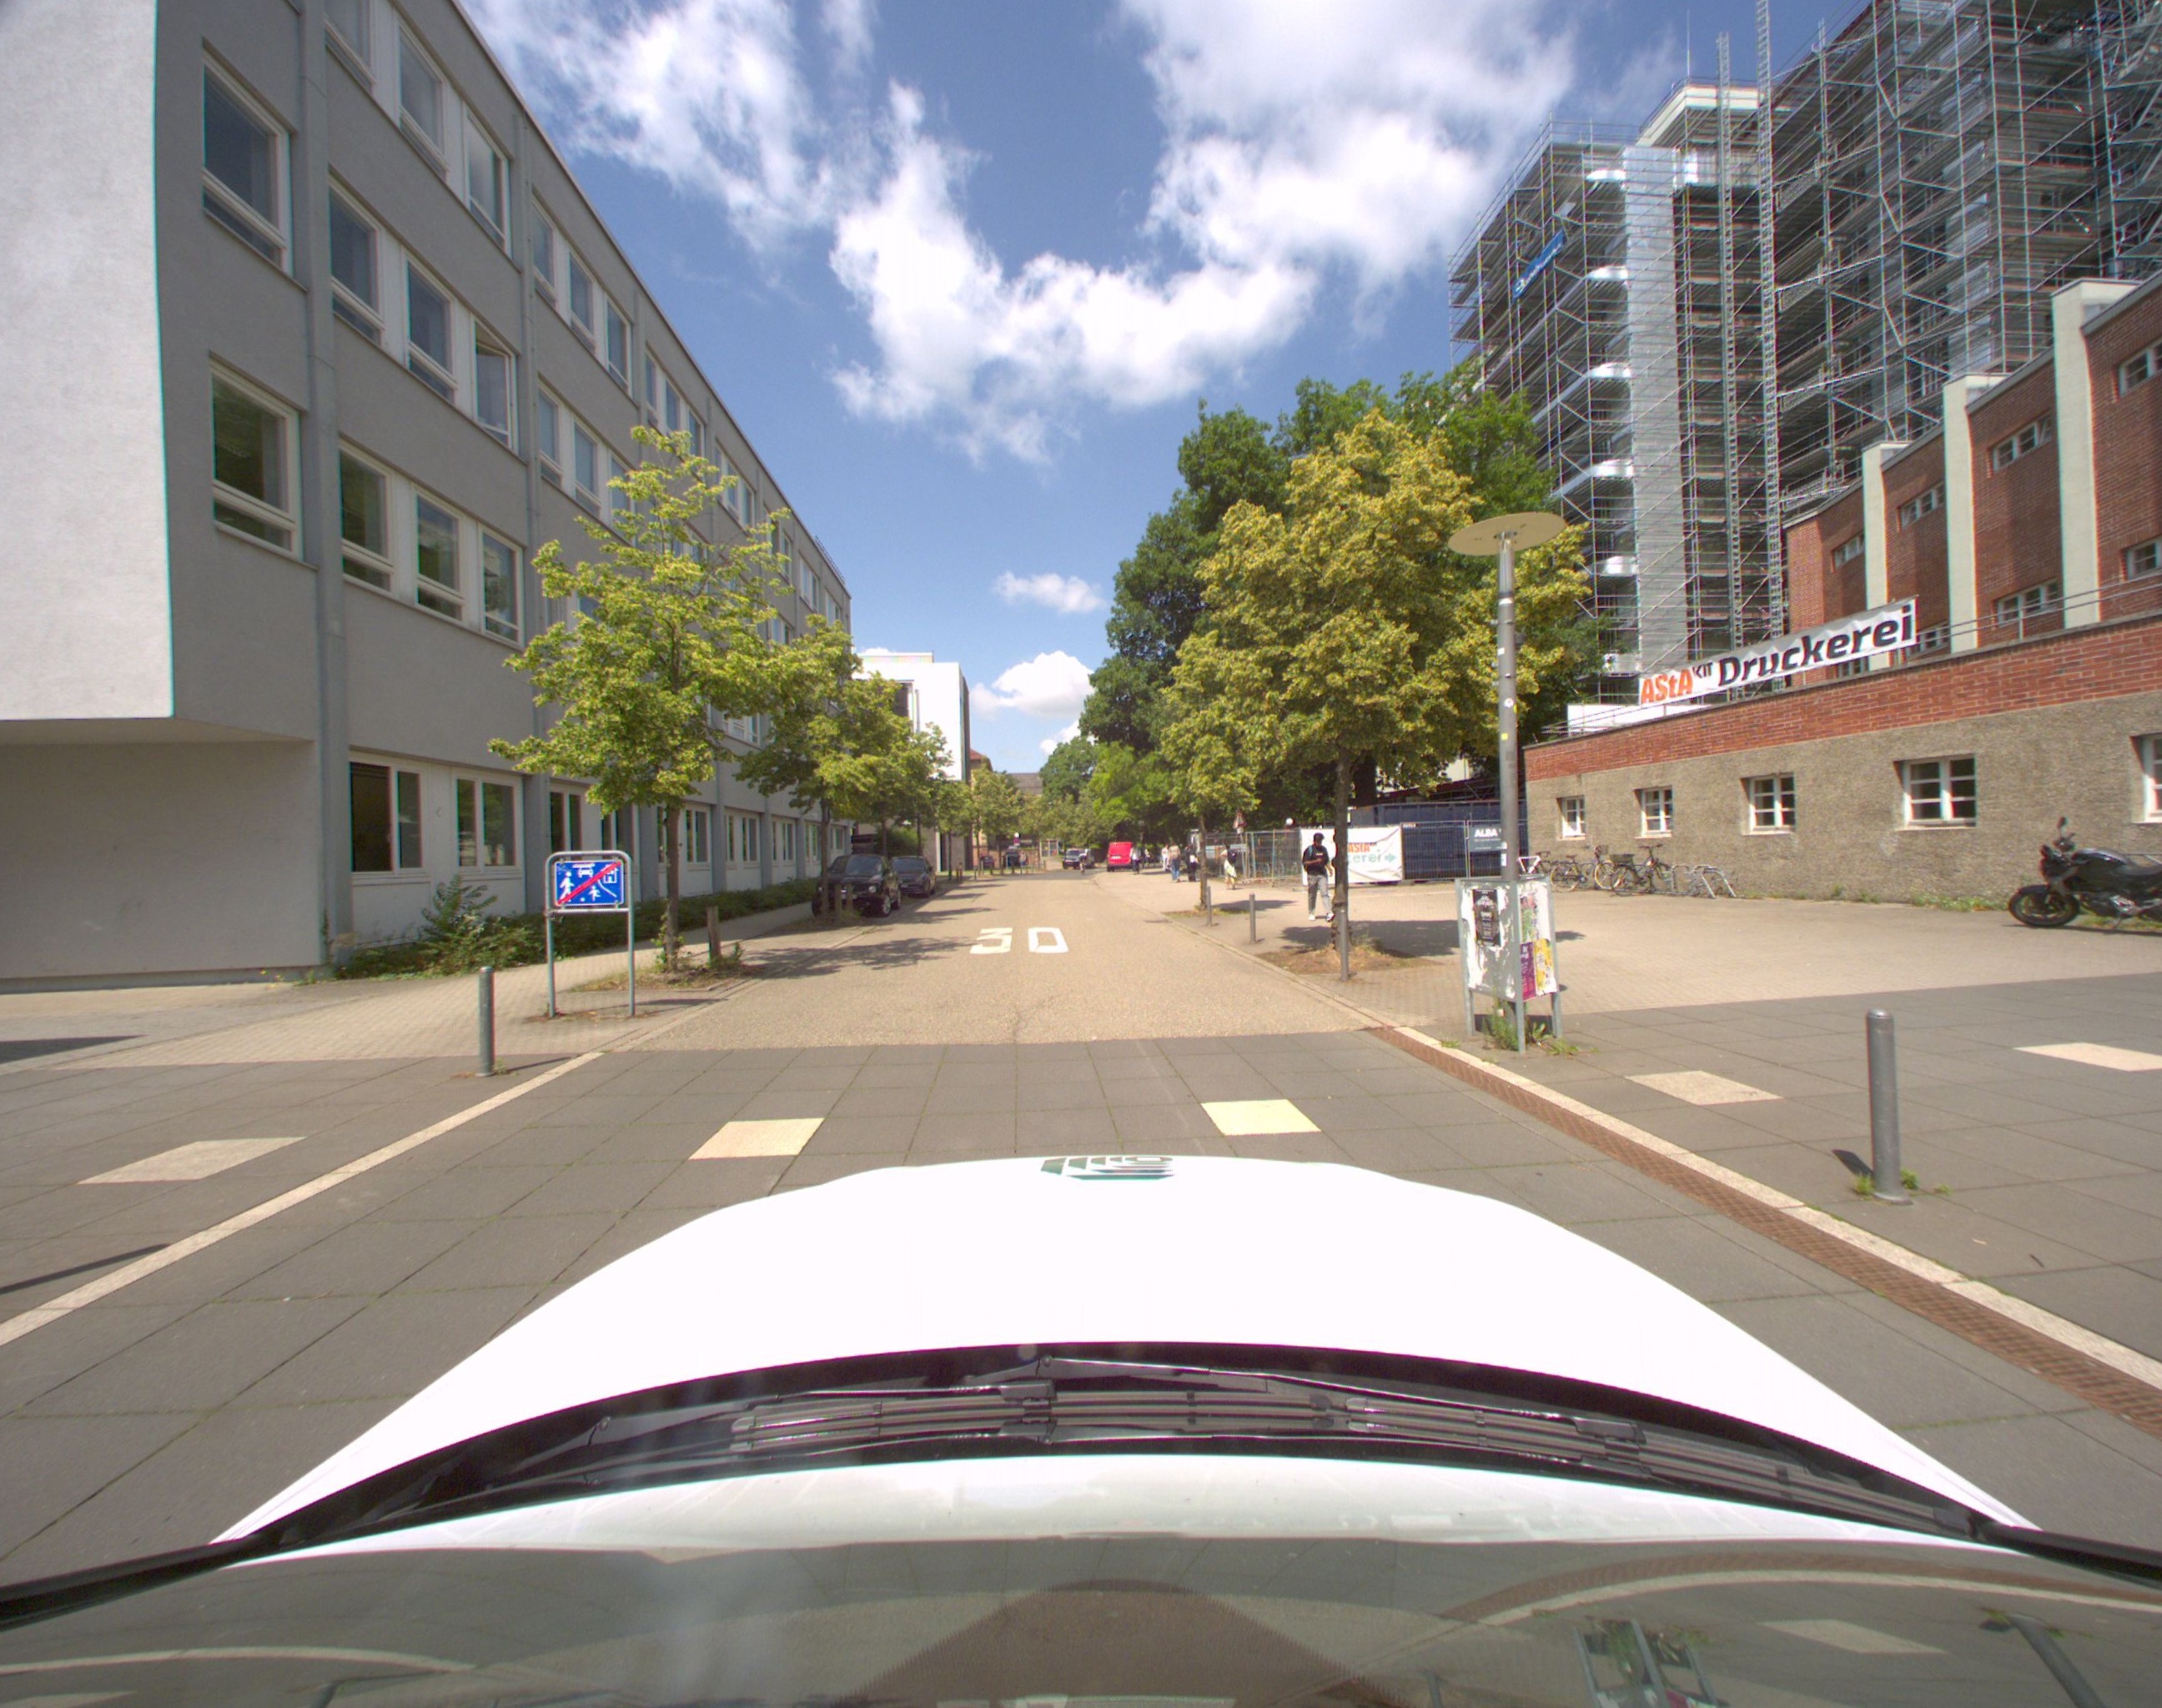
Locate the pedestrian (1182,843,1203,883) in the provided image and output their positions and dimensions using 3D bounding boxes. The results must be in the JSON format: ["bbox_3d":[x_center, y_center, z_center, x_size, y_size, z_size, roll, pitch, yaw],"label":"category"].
[{"bbox_3d":[4.634,0.363,33.868,0.666,1.600,0.985,-2,0,1],"label":"pedestrian"}]

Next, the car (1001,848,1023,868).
[{"bbox_3d":[-7.257,0.438,85.577,2.172,1.926,5.175,-2,0,-6],"label":"car"}]

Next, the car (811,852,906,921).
[{"bbox_3d":[-5.665,0.762,21.189,1.695,1.564,4.059,-2,0,-6],"label":"car"}]

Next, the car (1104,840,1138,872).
[{"bbox_3d":[2.553,0.108,51.277,1.839,1.891,4.898,-2,0,6],"label":"car"}]

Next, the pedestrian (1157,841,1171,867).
[{"bbox_3d":[6.016,-0.010,58.888,0.727,1.821,0.622,-2,-1,-40],"label":"pedestrian"}]

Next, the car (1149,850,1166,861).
[{"bbox_3d":[10.390,0.167,110.481,1.603,1.387,4.018,-2,0,16],"label":"car"}]

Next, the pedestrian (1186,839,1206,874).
[{"bbox_3d":[5.473,0.117,38.739,0.706,1.631,0.715,-2,0,21],"label":"pedestrian"}]

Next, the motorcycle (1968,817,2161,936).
[{"bbox_3d":[12.315,0.241,9.836,0.694,1.323,2.218,-2,0,-2],"label":"motorcycle"}]

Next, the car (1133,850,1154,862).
[{"bbox_3d":[7.999,0.247,103.440,1.746,1.522,4.129,-2,0,16],"label":"car"}]

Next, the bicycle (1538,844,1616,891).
[{"bbox_3d":[12.417,0.325,20.385,1.698,1.109,0.447,-2,0,-5],"label":"bicycle"}]

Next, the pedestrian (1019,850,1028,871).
[{"bbox_3d":[-4.948,0.527,69.828,0.581,1.764,0.913,-2,0,6],"label":"pedestrian"}]

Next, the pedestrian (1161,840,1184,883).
[{"bbox_3d":[3.816,0.308,34.081,0.846,1.764,0.716,-2,0,3],"label":"pedestrian"}]

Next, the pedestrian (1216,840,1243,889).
[{"bbox_3d":[5.163,0.353,28.298,0.648,1.666,0.903,-2,0,-5],"label":"pedestrian"}]

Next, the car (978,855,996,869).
[{"bbox_3d":[-9.807,0.810,85.261,1.814,1.324,3.761,-2,0,-5],"label":"car"}]

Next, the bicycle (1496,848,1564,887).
[{"bbox_3d":[12.544,0.366,22.755,1.668,1.003,0.447,-2,0,-5],"label":"bicycle"}]

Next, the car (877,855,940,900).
[{"bbox_3d":[-6.171,0.799,29.540,1.776,1.461,4.250,-1,0,-6],"label":"car"}]

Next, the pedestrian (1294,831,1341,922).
[{"bbox_3d":[4.593,0.423,15.860,0.639,1.697,0.792,-2,0,1],"label":"pedestrian"}]

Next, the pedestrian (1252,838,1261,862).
[{"bbox_3d":[13.969,-0.331,64.864,0.541,1.837,0.762,-2,0,2],"label":"pedestrian"}]

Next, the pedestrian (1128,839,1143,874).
[{"bbox_3d":[2.856,0.127,42.636,0.690,1.781,0.789,-2,0,9],"label":"pedestrian"}]

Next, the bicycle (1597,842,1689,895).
[{"bbox_3d":[12.641,0.316,18.342,1.802,1.109,0.447,-2,0,-5],"label":"bicycle"}]

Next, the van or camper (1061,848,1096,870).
[{"bbox_3d":[-0.183,0.452,77.905,1.939,1.923,5.443,-1,0,16],"label":"van or camper"}]

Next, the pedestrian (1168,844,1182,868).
[{"bbox_3d":[6.699,0.133,58.006,0.749,1.710,0.557,-2,-1,-40],"label":"pedestrian"}]
